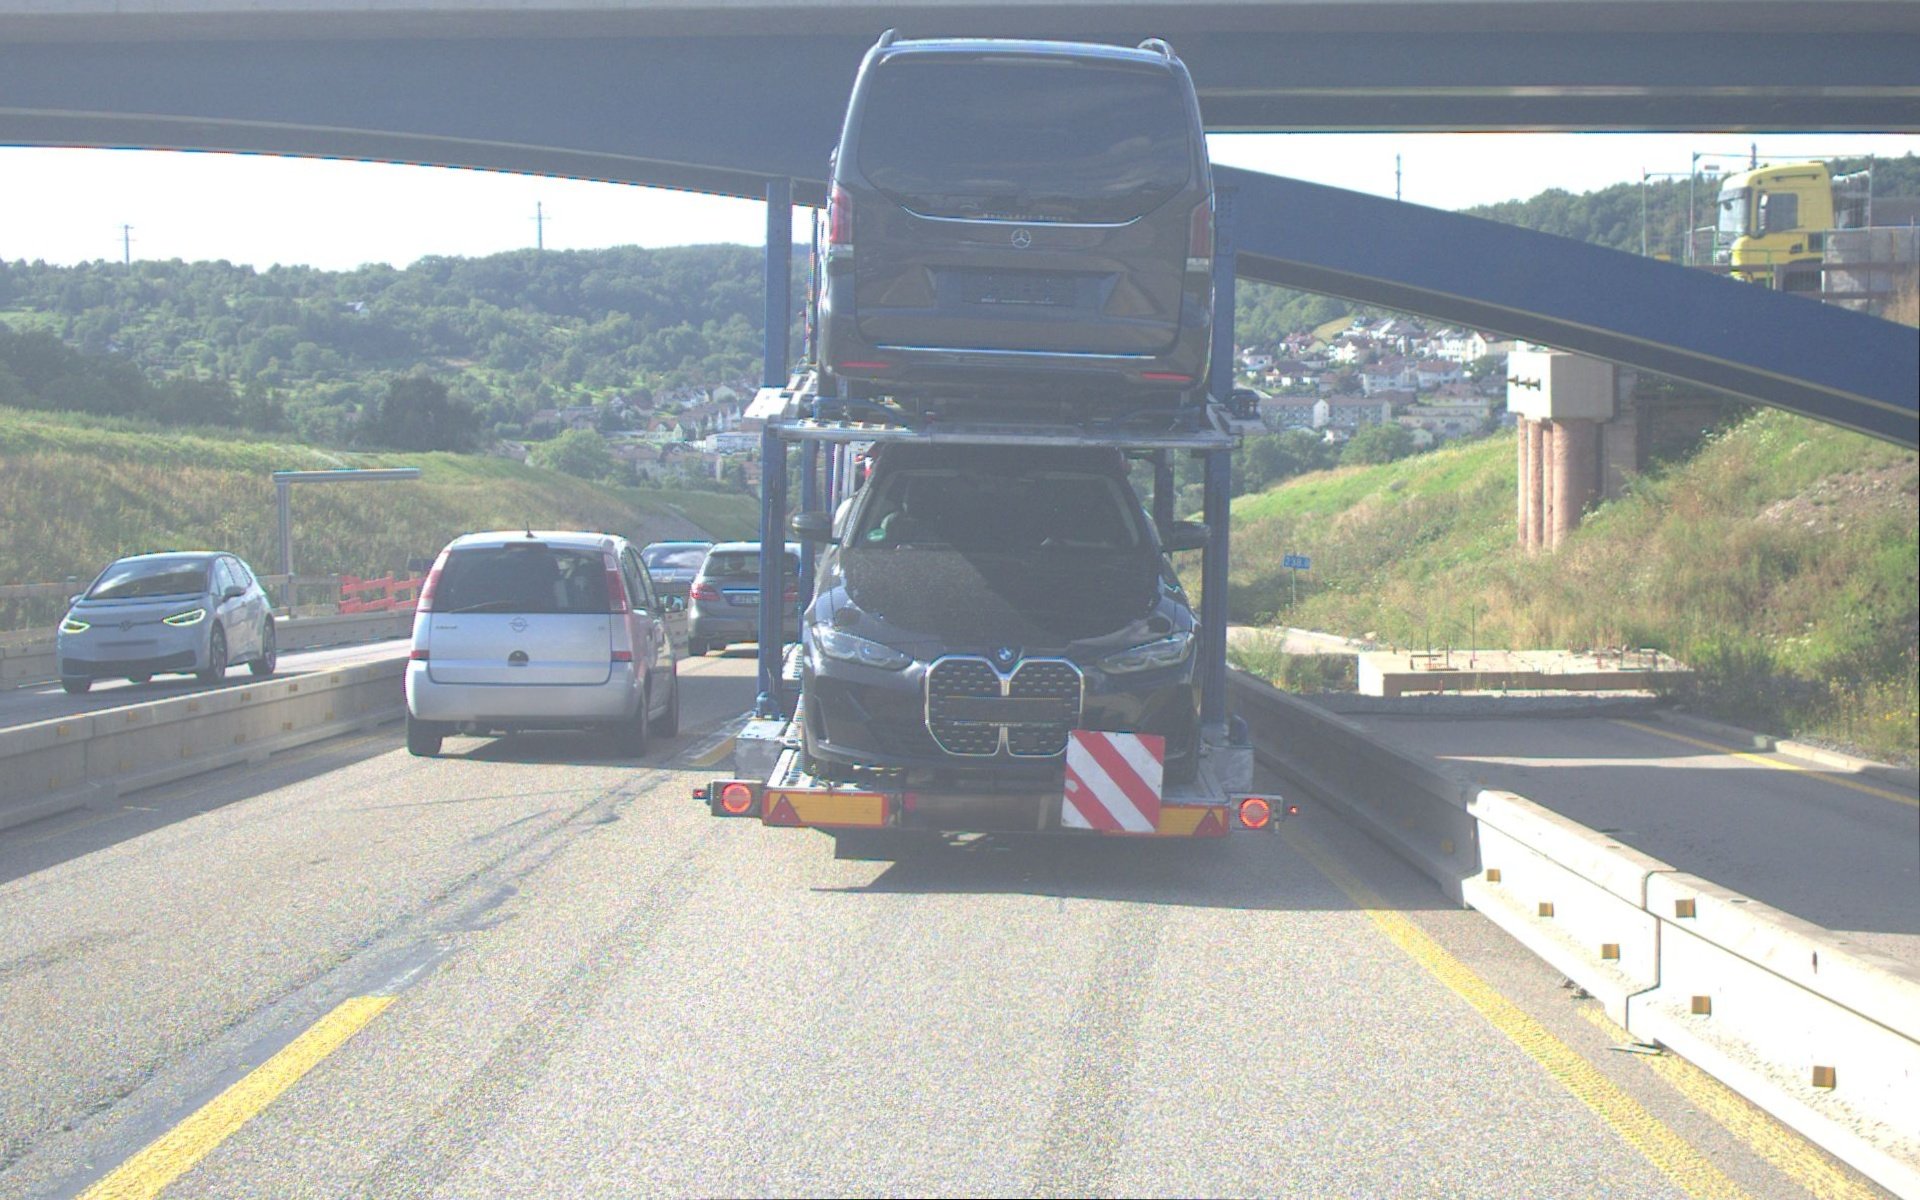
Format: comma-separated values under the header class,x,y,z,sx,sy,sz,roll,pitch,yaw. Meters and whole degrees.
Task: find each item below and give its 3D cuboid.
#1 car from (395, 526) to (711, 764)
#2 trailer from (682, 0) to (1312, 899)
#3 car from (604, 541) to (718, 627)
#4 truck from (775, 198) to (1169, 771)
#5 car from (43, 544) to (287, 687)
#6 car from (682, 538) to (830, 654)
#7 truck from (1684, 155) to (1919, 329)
class,x,y,z,sx,sy,sz,roll,pitch,yaw
car,-2.947,0.258,25.803,1.796,1.591,4.743,1,1,0
trailer,0.151,-0.804,20.543,2.708,4.015,11.420,0,1,0
car,-5.872,-0.343,67.904,1.823,1.558,4.218,-3,1,0
truck,0.131,-0.833,26.475,2.678,3.908,6.027,0,1,1
car,-9.269,0.135,40.393,1.823,1.487,4.218,-3,1,0
car,-2.783,-0.091,47.707,1.796,1.525,4.295,0,1,0
truck,19.427,-7.128,68.795,9.263,3.217,2.960,0,1,1
